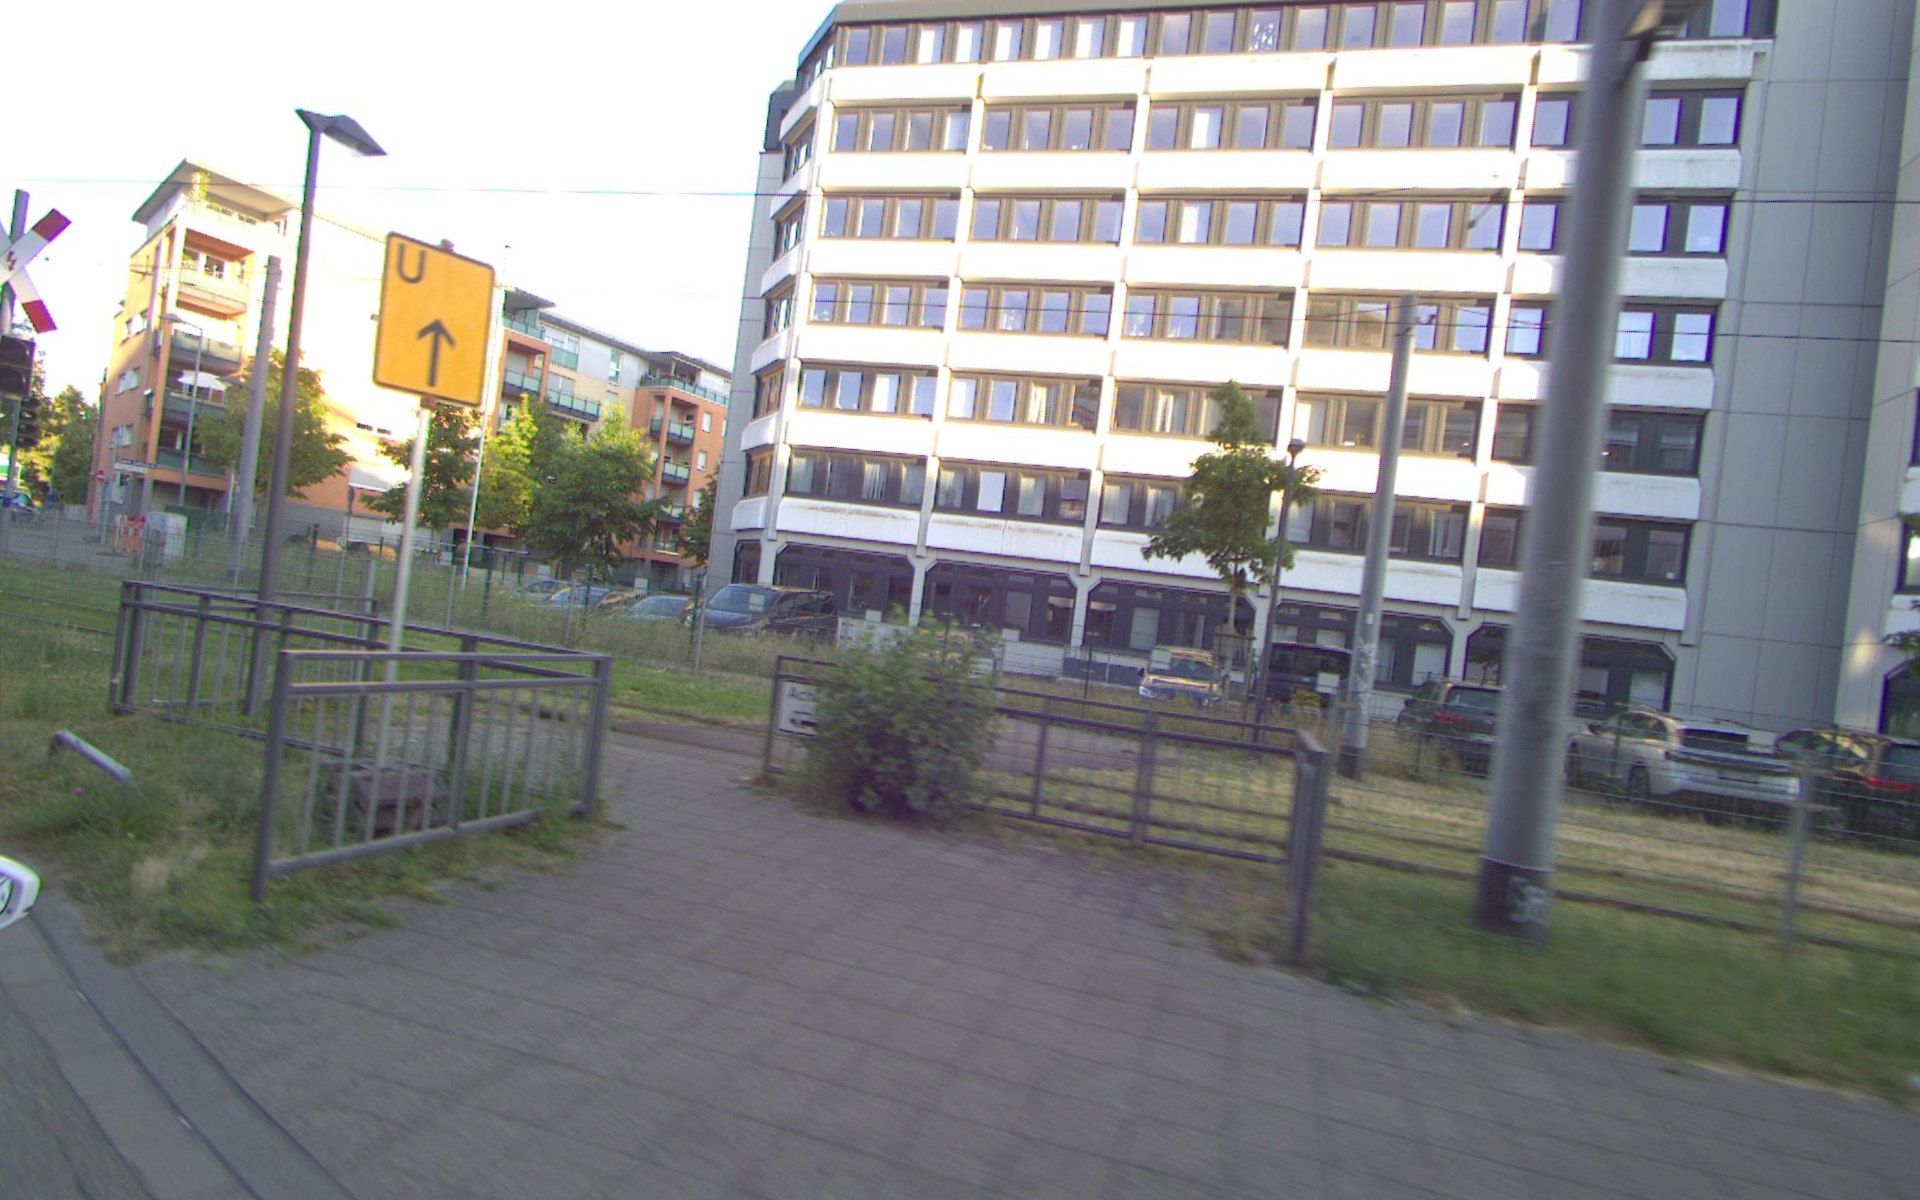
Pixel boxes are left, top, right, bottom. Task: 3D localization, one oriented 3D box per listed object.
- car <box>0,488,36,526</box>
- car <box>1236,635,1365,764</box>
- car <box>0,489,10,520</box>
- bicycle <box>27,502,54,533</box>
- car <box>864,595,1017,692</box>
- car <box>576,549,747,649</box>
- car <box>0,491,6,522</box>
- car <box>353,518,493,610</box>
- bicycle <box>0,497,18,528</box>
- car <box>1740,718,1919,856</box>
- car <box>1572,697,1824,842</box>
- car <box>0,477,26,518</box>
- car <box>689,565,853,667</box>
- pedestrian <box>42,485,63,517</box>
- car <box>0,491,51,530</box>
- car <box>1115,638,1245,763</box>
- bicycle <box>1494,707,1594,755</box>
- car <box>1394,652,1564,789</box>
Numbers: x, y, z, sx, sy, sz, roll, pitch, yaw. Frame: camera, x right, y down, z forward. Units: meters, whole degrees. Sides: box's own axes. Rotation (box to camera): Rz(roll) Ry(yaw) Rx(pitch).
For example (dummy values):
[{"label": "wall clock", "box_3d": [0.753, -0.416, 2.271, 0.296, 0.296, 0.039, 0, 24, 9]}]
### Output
[{"label": "car", "box_3d": [-45.599, -4.522, 46.502, 1.650, 1.588, 4.042, 7, 0, 42]}, {"label": "car", "box_3d": [6.667, 1.893, 19.860, 1.962, 2.037, 4.003, 7, -2, 18]}, {"label": "car", "box_3d": [-52.897, -5.307, 52.818, 1.768, 1.588, 4.206, 7, 0, 42]}, {"label": "bicycle", "box_3d": [-39.737, -3.589, 43.469, 1.934, 1.140, 0.529, 9, -1, 41]}, {"label": "car", "box_3d": [-0.326, 1.024, 22.710, 1.963, 1.770, 4.002, 7, -1, 20]}, {"label": "car", "box_3d": [-7.455, 0.053, 25.587, 1.963, 2.037, 4.002, 7, -1, 20]}, {"label": "car", "box_3d": [-49.778, -4.897, 49.627, 1.519, 1.512, 3.769, 4, -3, 42]}, {"label": "car", "box_3d": [-14.813, -1.023, 27.685, 3.945, 2.037, 1.991, 7, -1, 42]}, {"label": "bicycle", "box_3d": [-40.159, -3.703, 42.231, 1.900, 1.167, 0.677, 9, 3, 41]}, {"label": "car", "box_3d": [13.835, 2.797, 15.237, 1.783, 1.611, 4.003, 7, -2, 18]}, {"label": "car", "box_3d": [11.411, 2.517, 15.960, 1.783, 1.611, 4.409, 7, -2, 18]}, {"label": "car", "box_3d": [-56.271, -6.123, 56.814, 1.990, 2.142, 4.911, 7, -1, 44]}, {"label": "car", "box_3d": [-4.503, 0.471, 24.628, 1.963, 2.037, 4.002, 7, -1, 20]}, {"label": "pedestrian", "box_3d": [-53.066, -5.778, 58.818, 0.690, 1.764, 0.667, 7, 0, 42]}, {"label": "car", "box_3d": [-43.636, -4.226, 45.248, 1.589, 1.490, 3.750, 7, -2, 38]}, {"label": "car", "box_3d": [4.585, 1.971, 20.487, 1.962, 2.037, 4.003, 7, -1, 18]}, {"label": "bicycle", "box_3d": [16.278, 3.640, 28.100, 2.173, 0.962, 0.815, 7, 0, 17]}, {"label": "car", "box_3d": [9.618, 2.168, 19.022, 1.962, 2.037, 4.278, 7, -2, 18]}]
